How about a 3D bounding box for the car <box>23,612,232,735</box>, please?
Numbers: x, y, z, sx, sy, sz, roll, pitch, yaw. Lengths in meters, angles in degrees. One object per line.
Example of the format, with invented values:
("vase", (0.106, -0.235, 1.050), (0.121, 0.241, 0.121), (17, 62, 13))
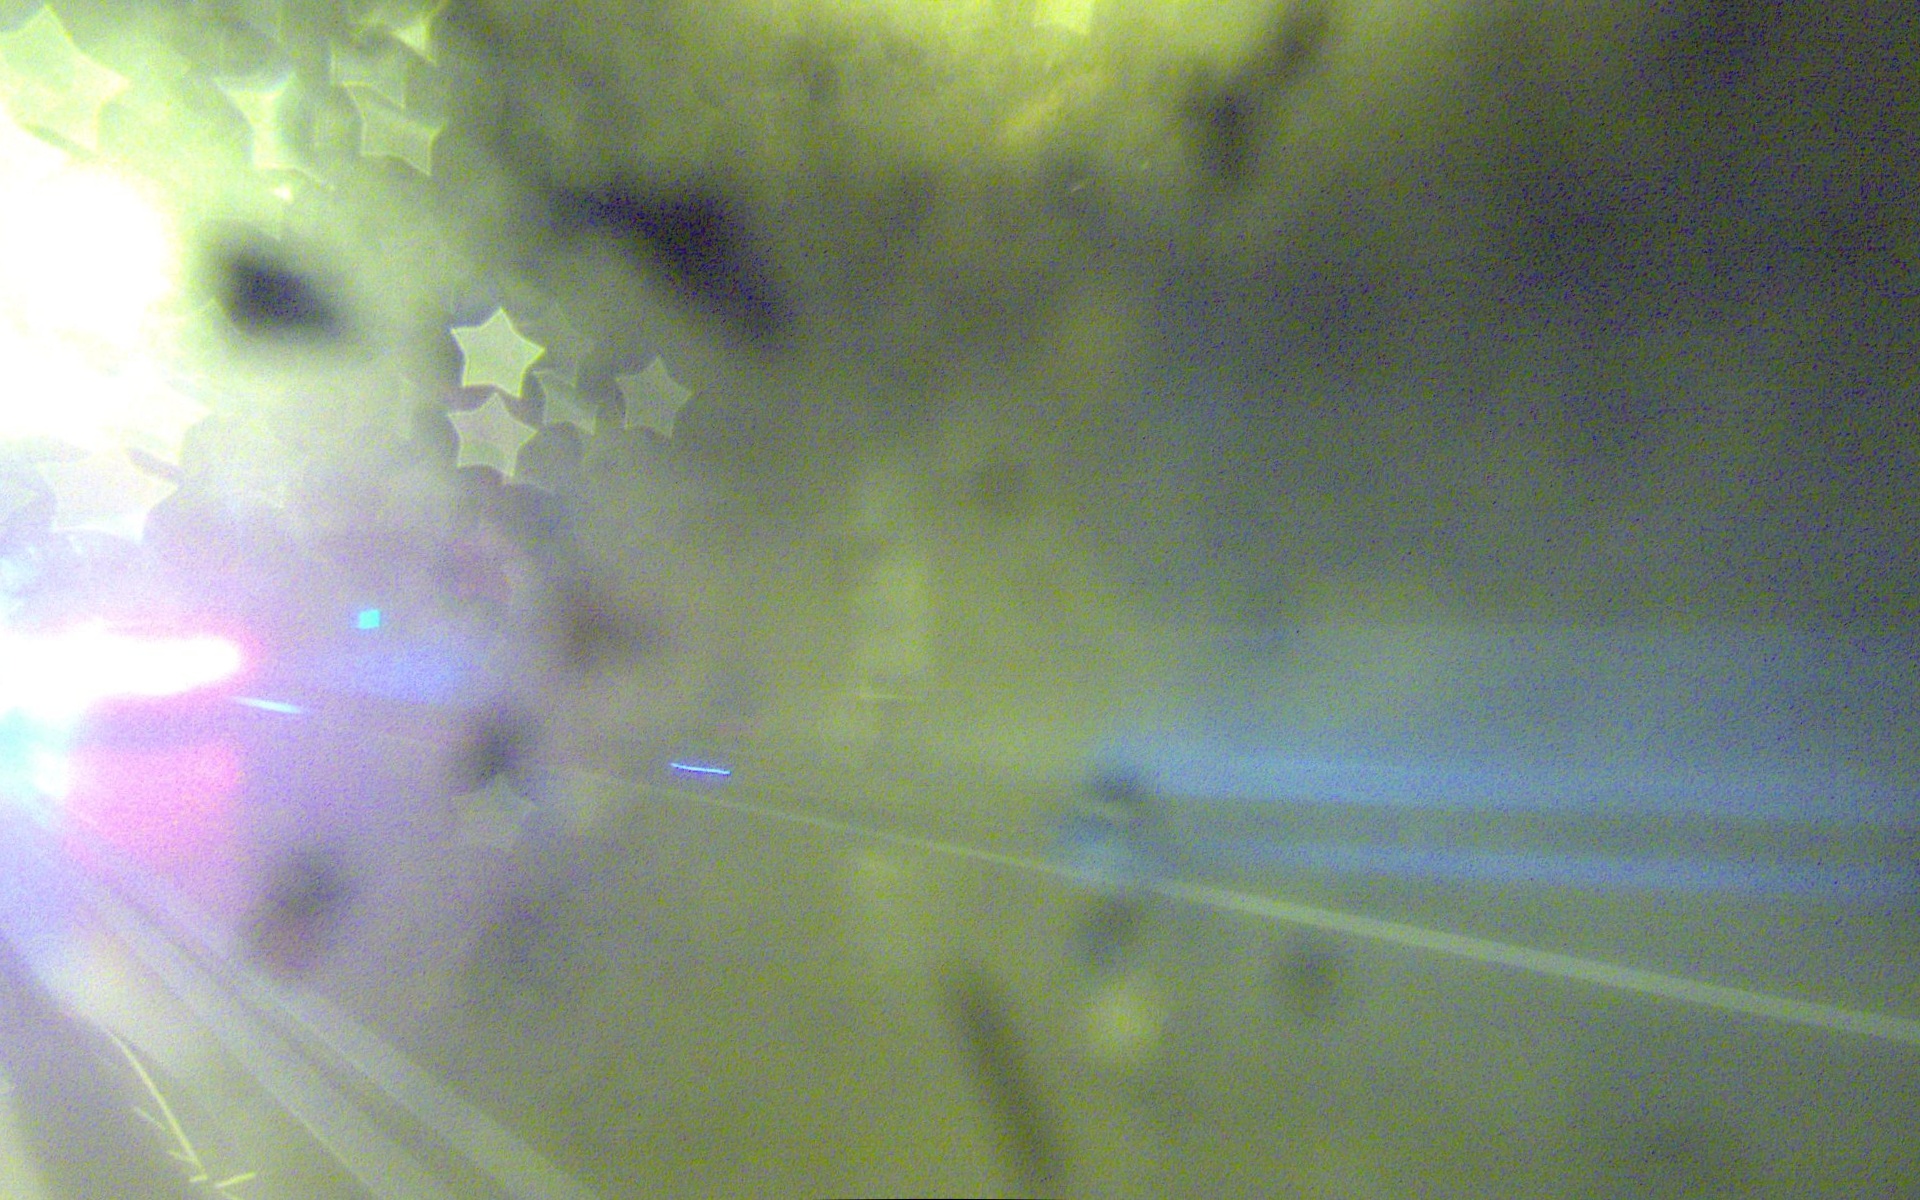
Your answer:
("car", (-11.849, 0.948, 14.325), (3.886, 1.492, 1.741), (-2, -1, 42))
